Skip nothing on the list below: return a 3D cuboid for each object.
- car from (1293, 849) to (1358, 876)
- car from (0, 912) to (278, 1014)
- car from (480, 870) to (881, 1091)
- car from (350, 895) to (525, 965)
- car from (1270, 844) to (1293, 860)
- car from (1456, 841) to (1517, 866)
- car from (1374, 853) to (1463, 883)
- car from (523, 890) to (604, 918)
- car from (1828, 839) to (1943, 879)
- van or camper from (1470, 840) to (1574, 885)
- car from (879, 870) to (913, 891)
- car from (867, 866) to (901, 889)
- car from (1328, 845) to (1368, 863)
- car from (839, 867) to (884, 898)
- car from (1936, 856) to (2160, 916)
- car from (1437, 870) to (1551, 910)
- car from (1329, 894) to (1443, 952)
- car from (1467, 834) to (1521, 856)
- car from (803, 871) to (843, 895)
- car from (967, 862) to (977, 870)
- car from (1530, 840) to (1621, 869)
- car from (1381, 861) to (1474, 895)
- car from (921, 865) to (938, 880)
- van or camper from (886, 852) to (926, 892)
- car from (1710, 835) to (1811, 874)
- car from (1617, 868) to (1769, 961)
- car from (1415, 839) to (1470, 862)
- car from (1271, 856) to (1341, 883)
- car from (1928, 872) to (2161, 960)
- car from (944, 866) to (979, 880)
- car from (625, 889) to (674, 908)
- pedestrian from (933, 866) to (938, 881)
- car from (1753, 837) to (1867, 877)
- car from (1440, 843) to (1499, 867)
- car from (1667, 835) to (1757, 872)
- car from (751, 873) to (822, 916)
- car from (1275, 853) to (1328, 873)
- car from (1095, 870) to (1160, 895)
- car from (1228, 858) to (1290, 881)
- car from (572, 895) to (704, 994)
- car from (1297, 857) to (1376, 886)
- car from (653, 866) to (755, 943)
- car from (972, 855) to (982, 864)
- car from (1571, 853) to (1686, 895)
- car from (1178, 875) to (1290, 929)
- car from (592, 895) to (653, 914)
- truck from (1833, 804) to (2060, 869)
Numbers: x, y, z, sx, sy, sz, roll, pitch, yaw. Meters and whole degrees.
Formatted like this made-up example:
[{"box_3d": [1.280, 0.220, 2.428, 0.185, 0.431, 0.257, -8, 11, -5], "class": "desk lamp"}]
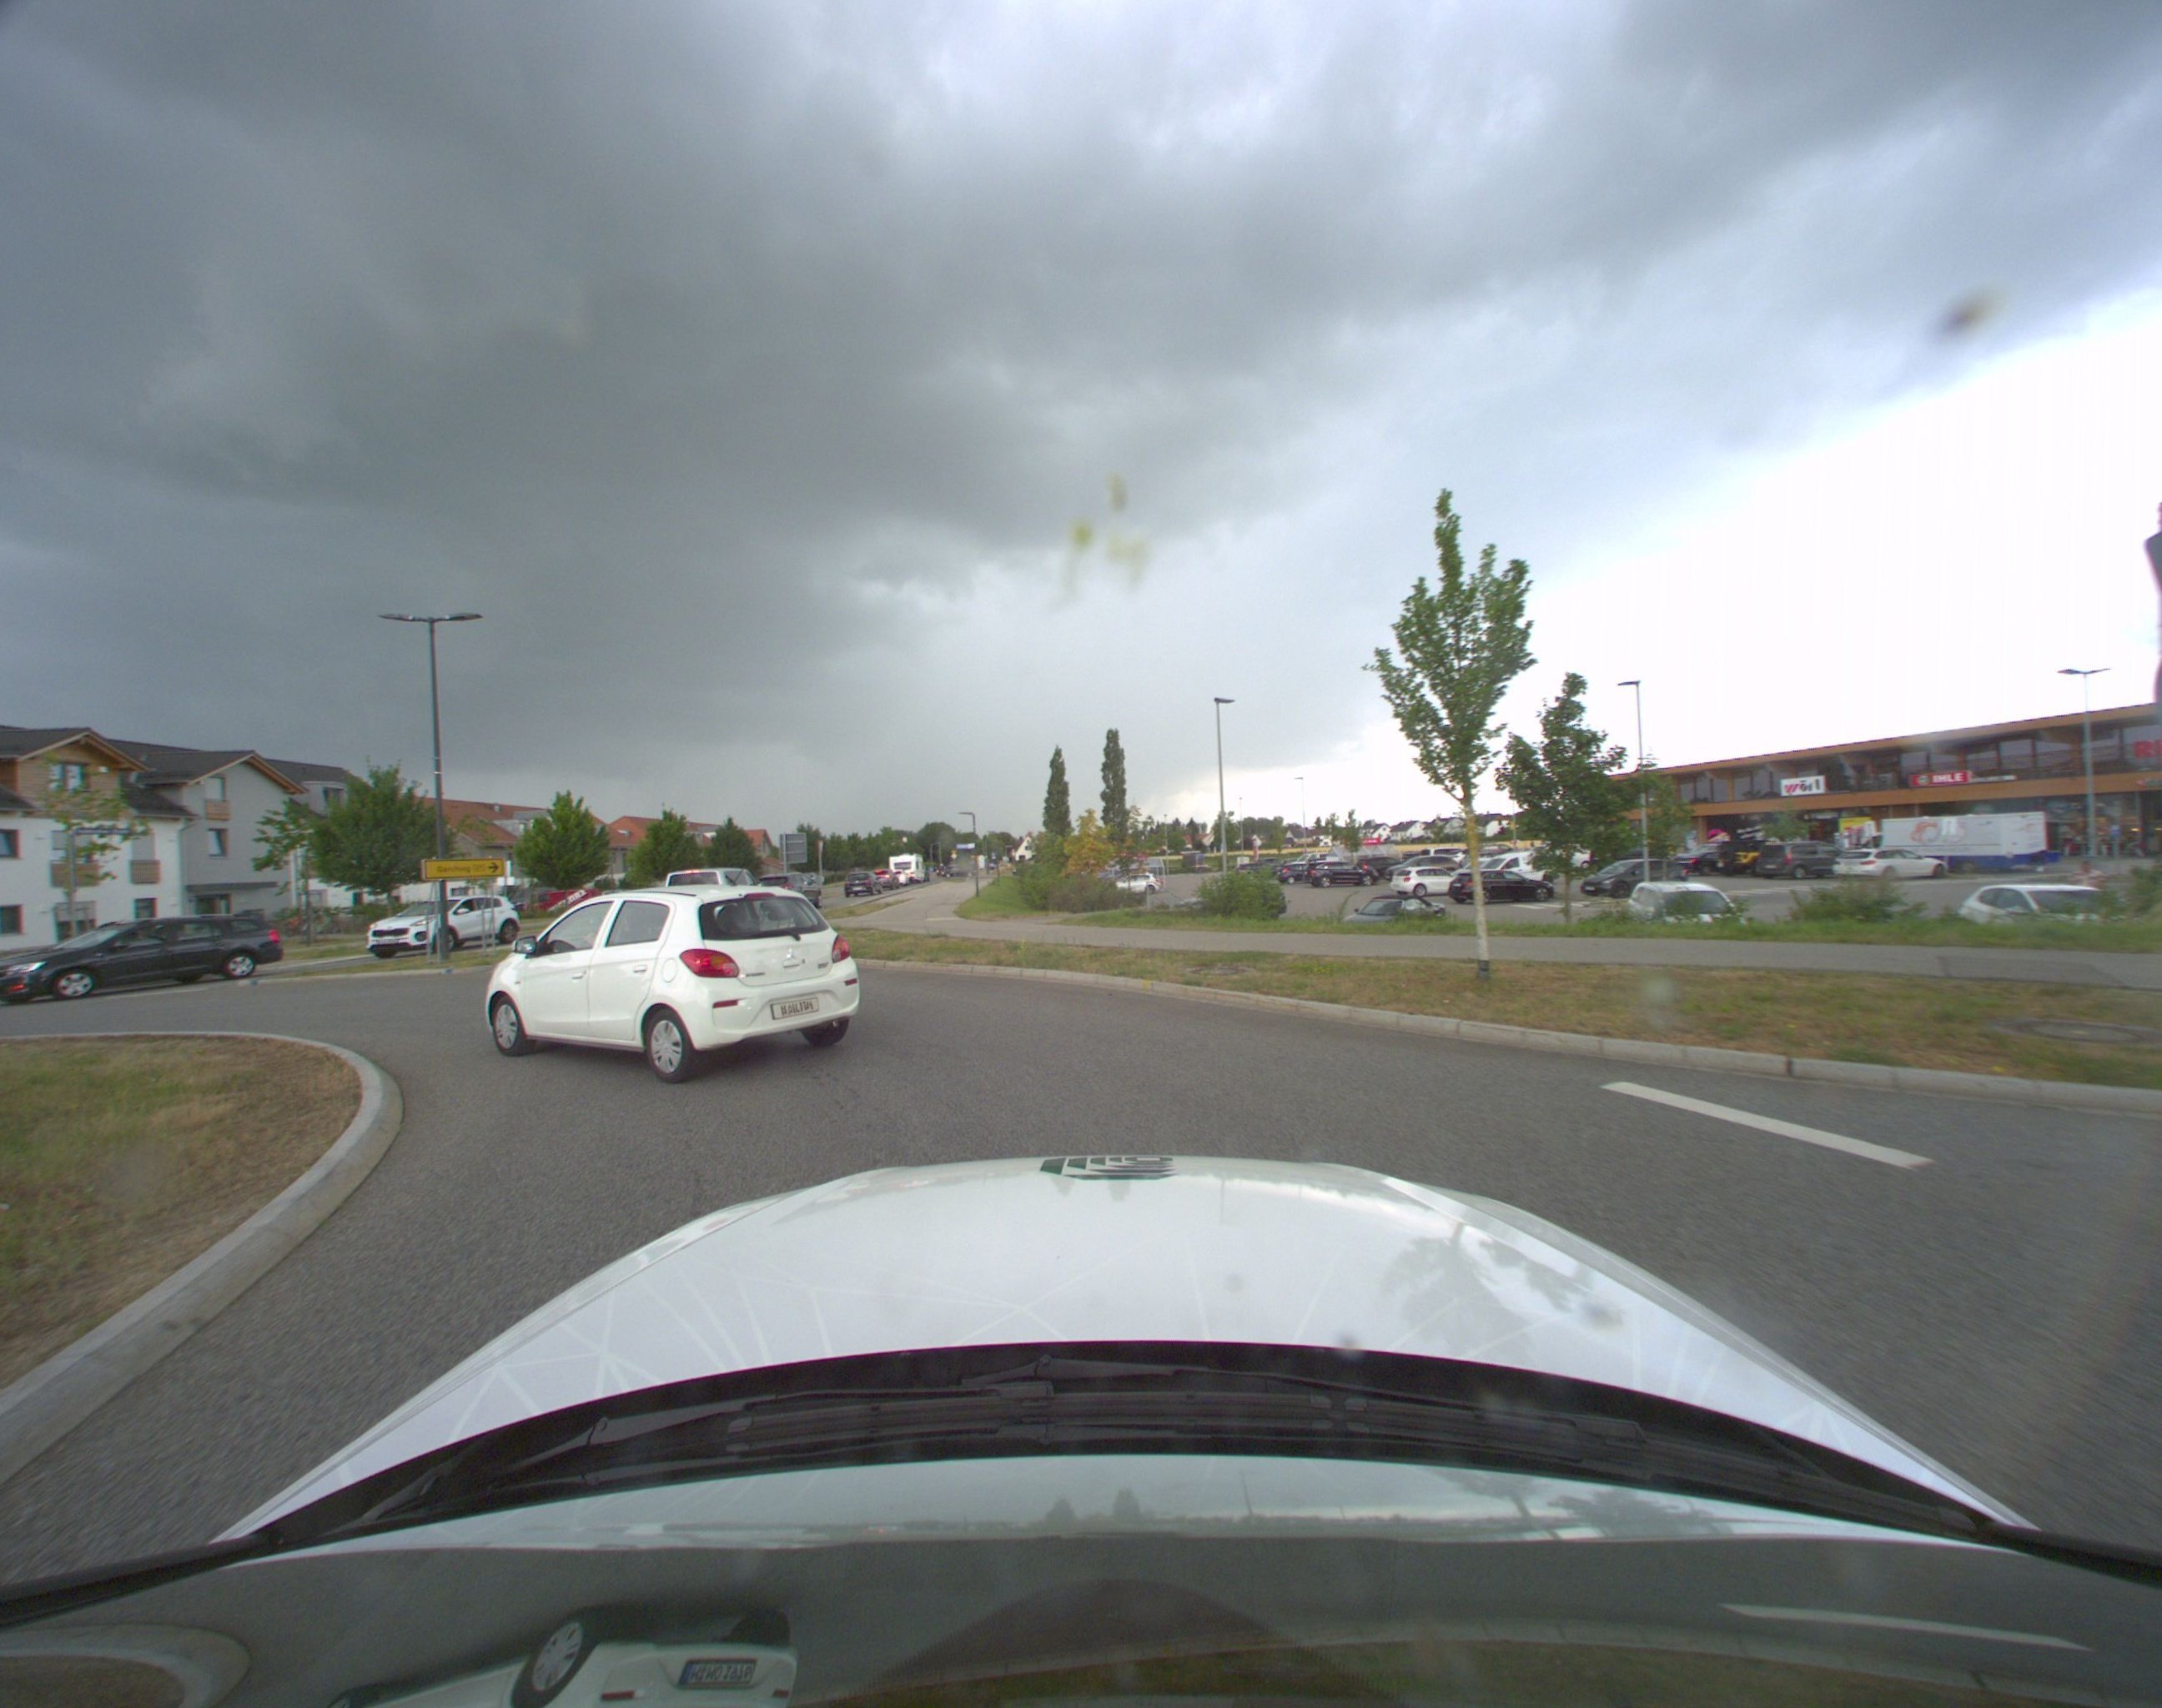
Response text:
[{"box_3d": [21.353, 0.715, 71.149, 5.119, 2.013, 1.989, -3, 1, -16], "class": "car"}, {"box_3d": [-20.477, 2.227, 17.473, 1.756, 1.563, 4.294, -3, 0, 12], "class": "car"}, {"box_3d": [-3.652, 0.986, 7.334, 3.355, 1.519, 1.643, -3, -1, 31], "class": "car"}, {"box_3d": [-19.215, 2.192, 24.607, 1.703, 1.626, 4.449, -3, 0, -1], "class": "car"}, {"box_3d": [25.619, -0.273, 104.109, 1.986, 2.014, 4.001, 0, -1, 2], "class": "car"}, {"box_3d": [33.197, -0.009, 66.700, 3.977, 1.838, 1.998, -2, -1, -3], "class": "car"}, {"box_3d": [21.930, 0.898, 53.015, 4.967, 1.664, 1.996, -3, 0, -6], "class": "car"}, {"box_3d": [-37.722, 3.635, 59.423, 4.518, 1.680, 1.998, -3, 0, -2], "class": "car"}, {"box_3d": [36.316, 0.212, 36.785, 3.988, 1.530, 1.725, -3, 0, -11], "class": "car"}, {"box_3d": [24.012, 0.474, 44.390, 4.789, 2.098, 1.759, -4, -1, -9], "class": "van or camper"}, {"box_3d": [-14.933, 2.119, 65.985, 1.989, 1.596, 3.995, -2, 0, -3], "class": "car"}, {"box_3d": [-13.834, 1.633, 57.326, 1.774, 1.434, 3.794, -4, -1, -6], "class": "car"}, {"box_3d": [30.759, -0.032, 93.900, 3.976, 1.838, 1.999, -3, 0, -2], "class": "car"}, {"box_3d": [-12.928, 1.657, 48.115, 1.774, 1.618, 3.993, -4, -1, -5], "class": "car"}, {"box_3d": [24.308, 0.746, 20.700, 1.700, 1.294, 3.687, -3, 0, 11], "class": "car"}, {"box_3d": [17.577, 1.519, 34.740, 3.987, 1.398, 1.830, -3, 0, -10], "class": "car"}, {"box_3d": [9.000, 1.959, 23.920, 3.753, 1.372, 1.562, -2, -1, -43], "class": "car"}, {"box_3d": [38.736, -0.840, 76.433, 3.976, 1.840, 1.873, -3, 0, -2], "class": "car"}, {"box_3d": [-17.725, 1.952, 56.108, 1.774, 1.434, 3.794, -4, -1, -6], "class": "car"}, {"box_3d": [-24.120, 2.638, 180.638, 1.991, 1.838, 3.991, -2, -1, -6], "class": "car"}, {"box_3d": [34.946, 0.050, 57.632, 5.278, 1.831, 1.996, -2, -1, -5], "class": "car"}, {"box_3d": [17.307, 1.168, 40.709, 3.983, 1.485, 1.677, -2, -1, -10], "class": "car"}, {"box_3d": [-22.433, 2.711, 120.684, 1.989, 2.014, 3.995, -2, -1, -4], "class": "car"}, {"box_3d": [-15.881, 1.623, 74.429, 2.621, 3.323, 6.808, -3, -1, -5], "class": "van or camper"}, {"box_3d": [35.856, 0.037, 43.016, 3.981, 1.854, 1.769, -2, -1, -6], "class": "car"}, {"box_3d": [14.854, 1.382, 20.072, 1.779, 1.672, 4.469, -4, 2, 21], "class": "car"}, {"box_3d": [32.072, -0.269, 72.299, 3.976, 1.838, 1.998, -3, -1, -2], "class": "car"}, {"box_3d": [16.084, 1.102, 58.420, 4.397, 1.664, 1.996, -3, 0, -5], "class": "car"}, {"box_3d": [20.516, 1.205, 17.059, 1.979, 1.508, 4.015, -3, -1, 14], "class": "car"}, {"box_3d": [-14.259, 2.311, 97.384, 3.981, 1.618, 1.996, 0, -1, -6], "class": "car"}, {"box_3d": [-40.788, 4.208, 77.061, 3.727, 1.482, 1.682, -3, 0, -8], "class": "car"}, {"box_3d": [-20.023, 2.696, 111.842, 0.576, 2.014, 0.681, 0, -1, 1], "class": "pedestrian"}, {"box_3d": [35.540, 0.147, 39.742, 4.102, 1.725, 1.848, -2, -2, -7], "class": "car"}, {"box_3d": [33.098, 0.095, 69.461, 3.976, 1.838, 1.999, -3, 0, -2], "class": "car"}, {"box_3d": [35.641, -0.012, 46.048, 3.987, 1.854, 1.766, -3, 0, -10], "class": "car"}, {"box_3d": [-12.276, 1.642, 34.210, 1.773, 1.618, 3.993, -1, -1, -4], "class": "car"}, {"box_3d": [20.042, 0.809, 74.060, 4.303, 1.578, 1.765, -3, 0, -3], "class": "car"}, {"box_3d": [3.208, 1.975, 56.419, 4.226, 1.440, 1.996, -3, 0, -5], "class": "car"}, {"box_3d": [14.654, 1.275, 67.274, 4.550, 1.664, 1.996, -3, 0, -5], "class": "car"}, {"box_3d": [-7.758, 1.470, 14.449, 1.794, 1.392, 4.096, 0, -2, -27], "class": "car"}, {"box_3d": [16.372, 1.114, 52.307, 4.444, 1.706, 1.800, -2, -1, -6], "class": "car"}, {"box_3d": [-11.489, 1.465, 25.123, 1.870, 1.933, 3.982, -7, 1, -13], "class": "car"}, {"box_3d": [-26.658, 1.498, 208.667, 1.987, 2.211, 3.999, -3, 0, 0], "class": "car"}, {"box_3d": [23.414, 0.829, 34.882, 3.988, 1.553, 1.725, -3, 0, -11], "class": "car"}, {"box_3d": [6.036, 1.850, 32.288, 3.992, 1.606, 1.784, -2, 7, -14], "class": "car"}, {"box_3d": [-38.239, 4.201, 67.980, 3.911, 1.315, 1.838, -3, 0, -8], "class": "car"}, {"box_3d": [42.554, -0.760, 40.472, 2.967, 2.807, 7.234, -3, 0, -10], "class": "truck"}]
